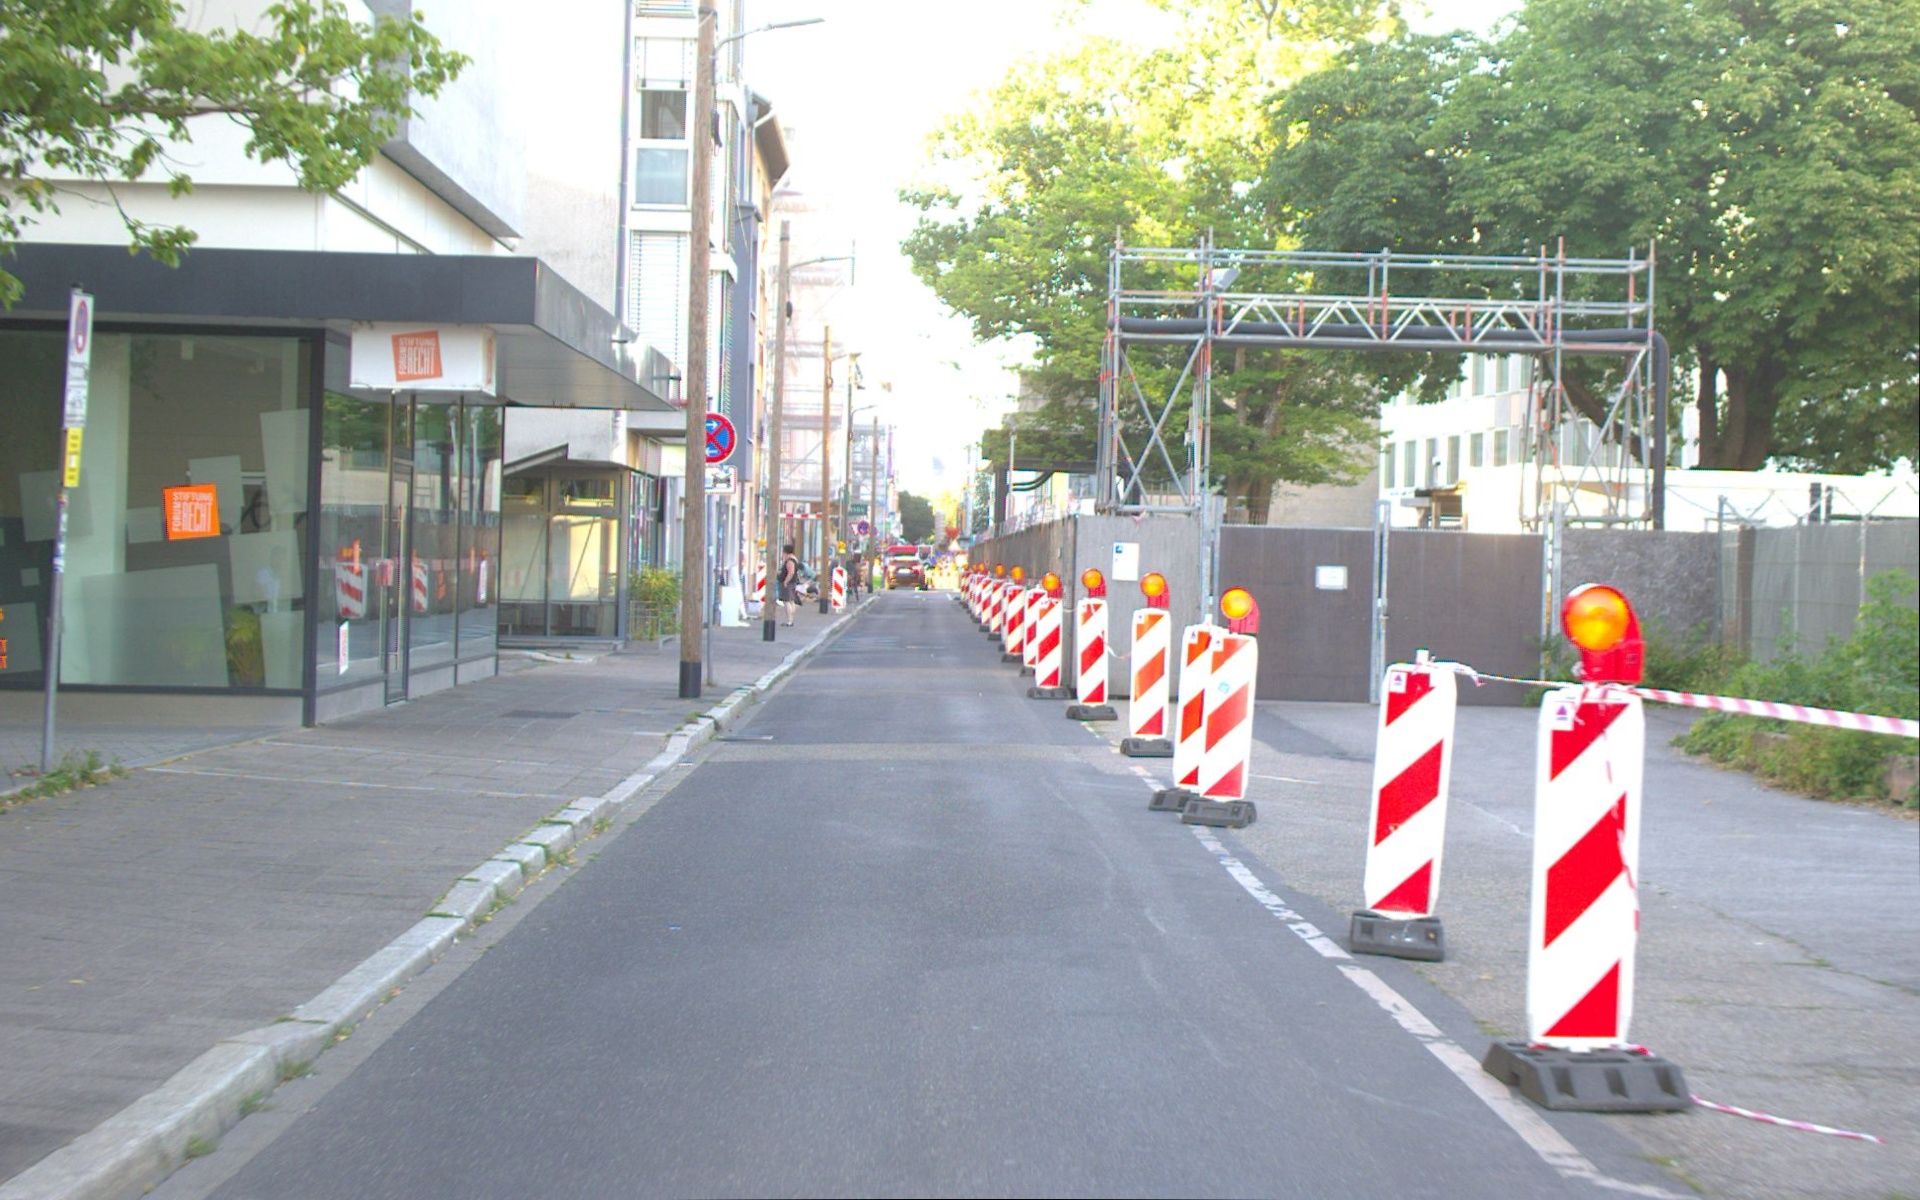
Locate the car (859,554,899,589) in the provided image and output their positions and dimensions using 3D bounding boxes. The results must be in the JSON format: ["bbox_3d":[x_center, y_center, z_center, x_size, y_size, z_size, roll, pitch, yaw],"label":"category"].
[{"bbox_3d":[-3.996,-1.408,169.560,1.858,1.656,4.000,2,1,-1],"label":"car"}]

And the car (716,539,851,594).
[{"bbox_3d":[-4.961,-0.932,96.516,3.742,1.454,1.698,1,0,-3],"label":"car"}]
